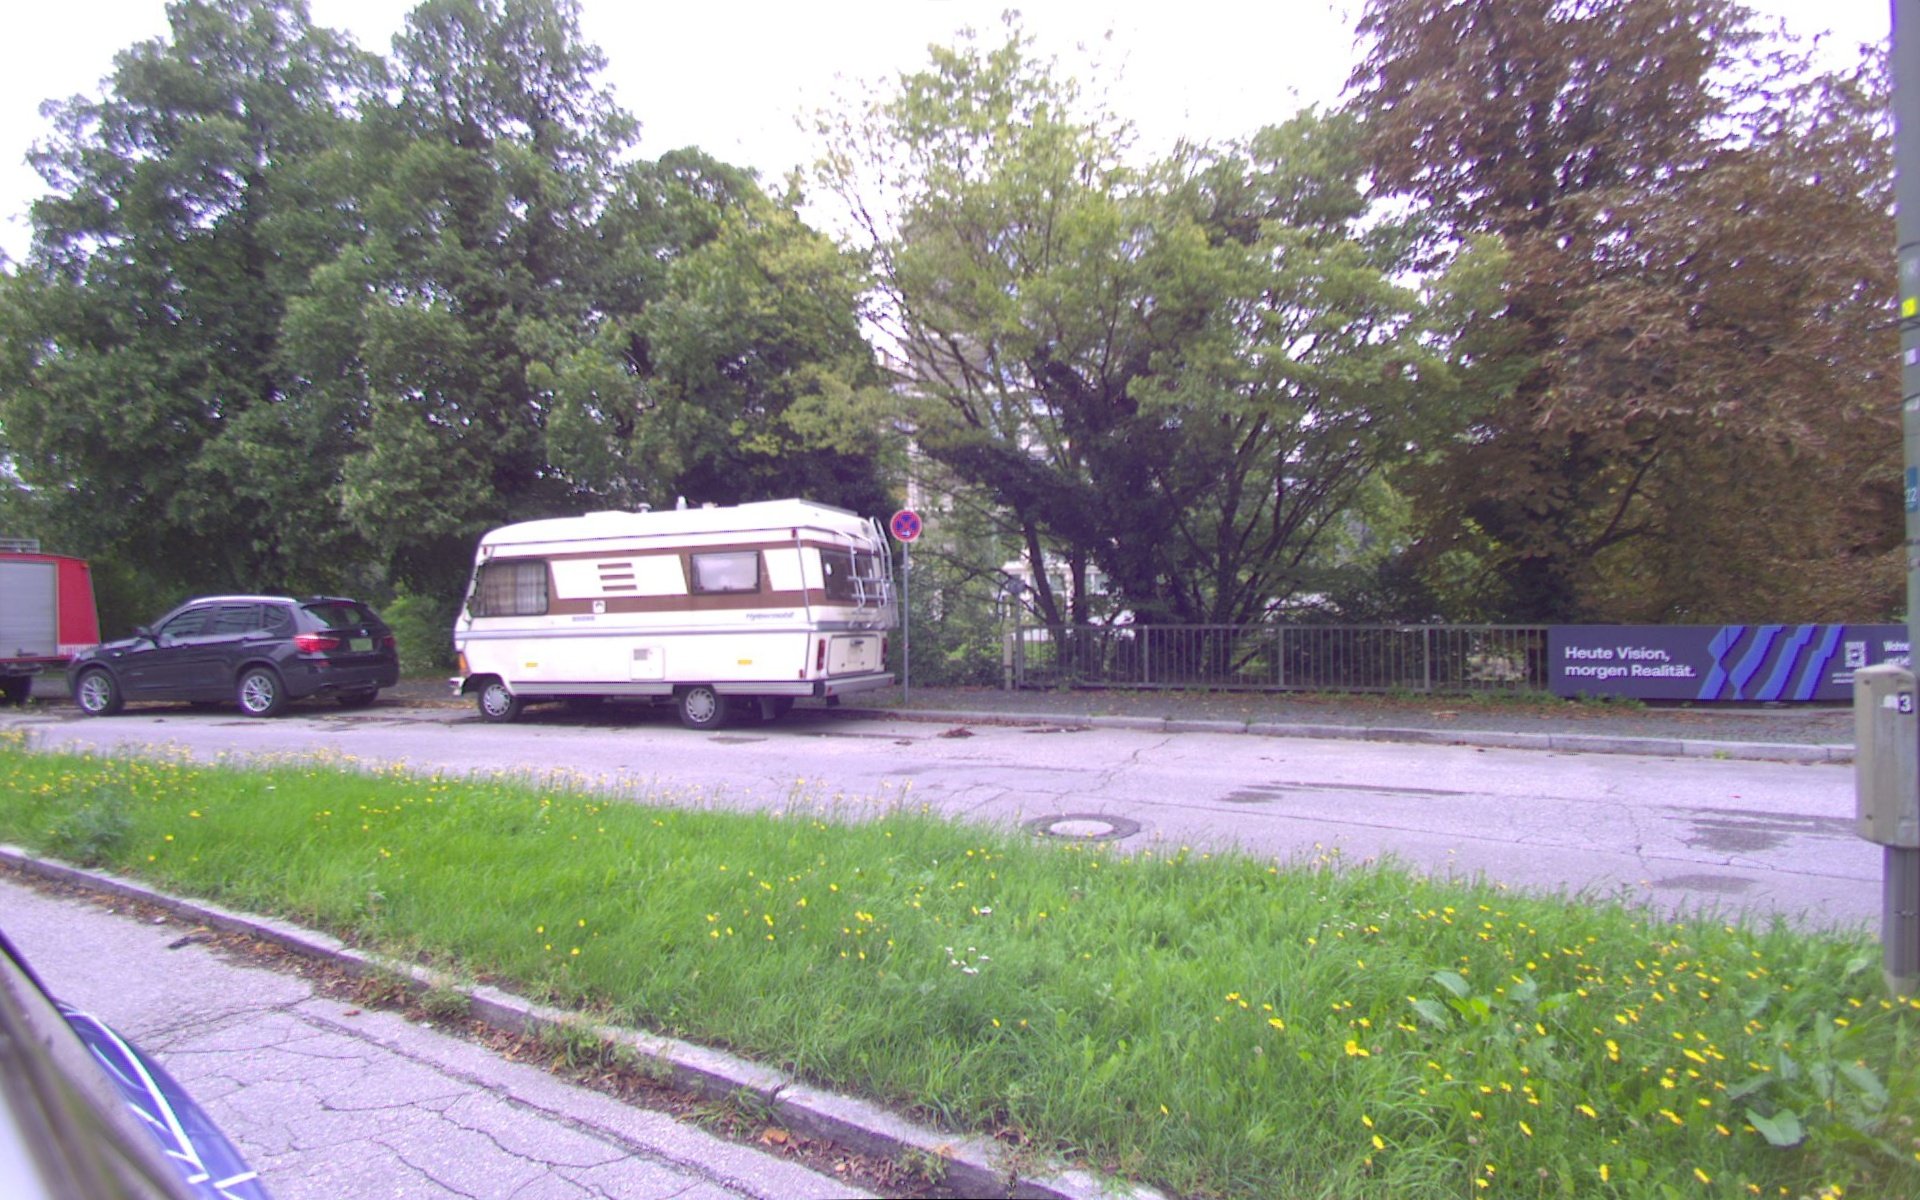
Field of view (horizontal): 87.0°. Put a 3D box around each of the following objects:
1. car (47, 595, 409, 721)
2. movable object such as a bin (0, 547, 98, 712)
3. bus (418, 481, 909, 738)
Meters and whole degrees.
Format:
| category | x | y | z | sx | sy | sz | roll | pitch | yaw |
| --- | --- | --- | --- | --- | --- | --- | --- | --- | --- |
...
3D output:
| category | x | y | z | sx | sy | sz | roll | pitch | yaw |
| --- | --- | --- | --- | --- | --- | --- | --- | --- | --- |
| car | -10.580 | 0.811 | 14.737 | 4.413 | 1.662 | 1.775 | -1 | -2 | 12 |
| movable object such as a bin | -17.328 | 0.483 | 16.268 | 6.126 | 2.477 | 2.102 | -1 | -2 | 14 |
| bus | -3.701 | 0.159 | 12.759 | 5.690 | 2.719 | 2.308 | -1 | -2 | 20 |
